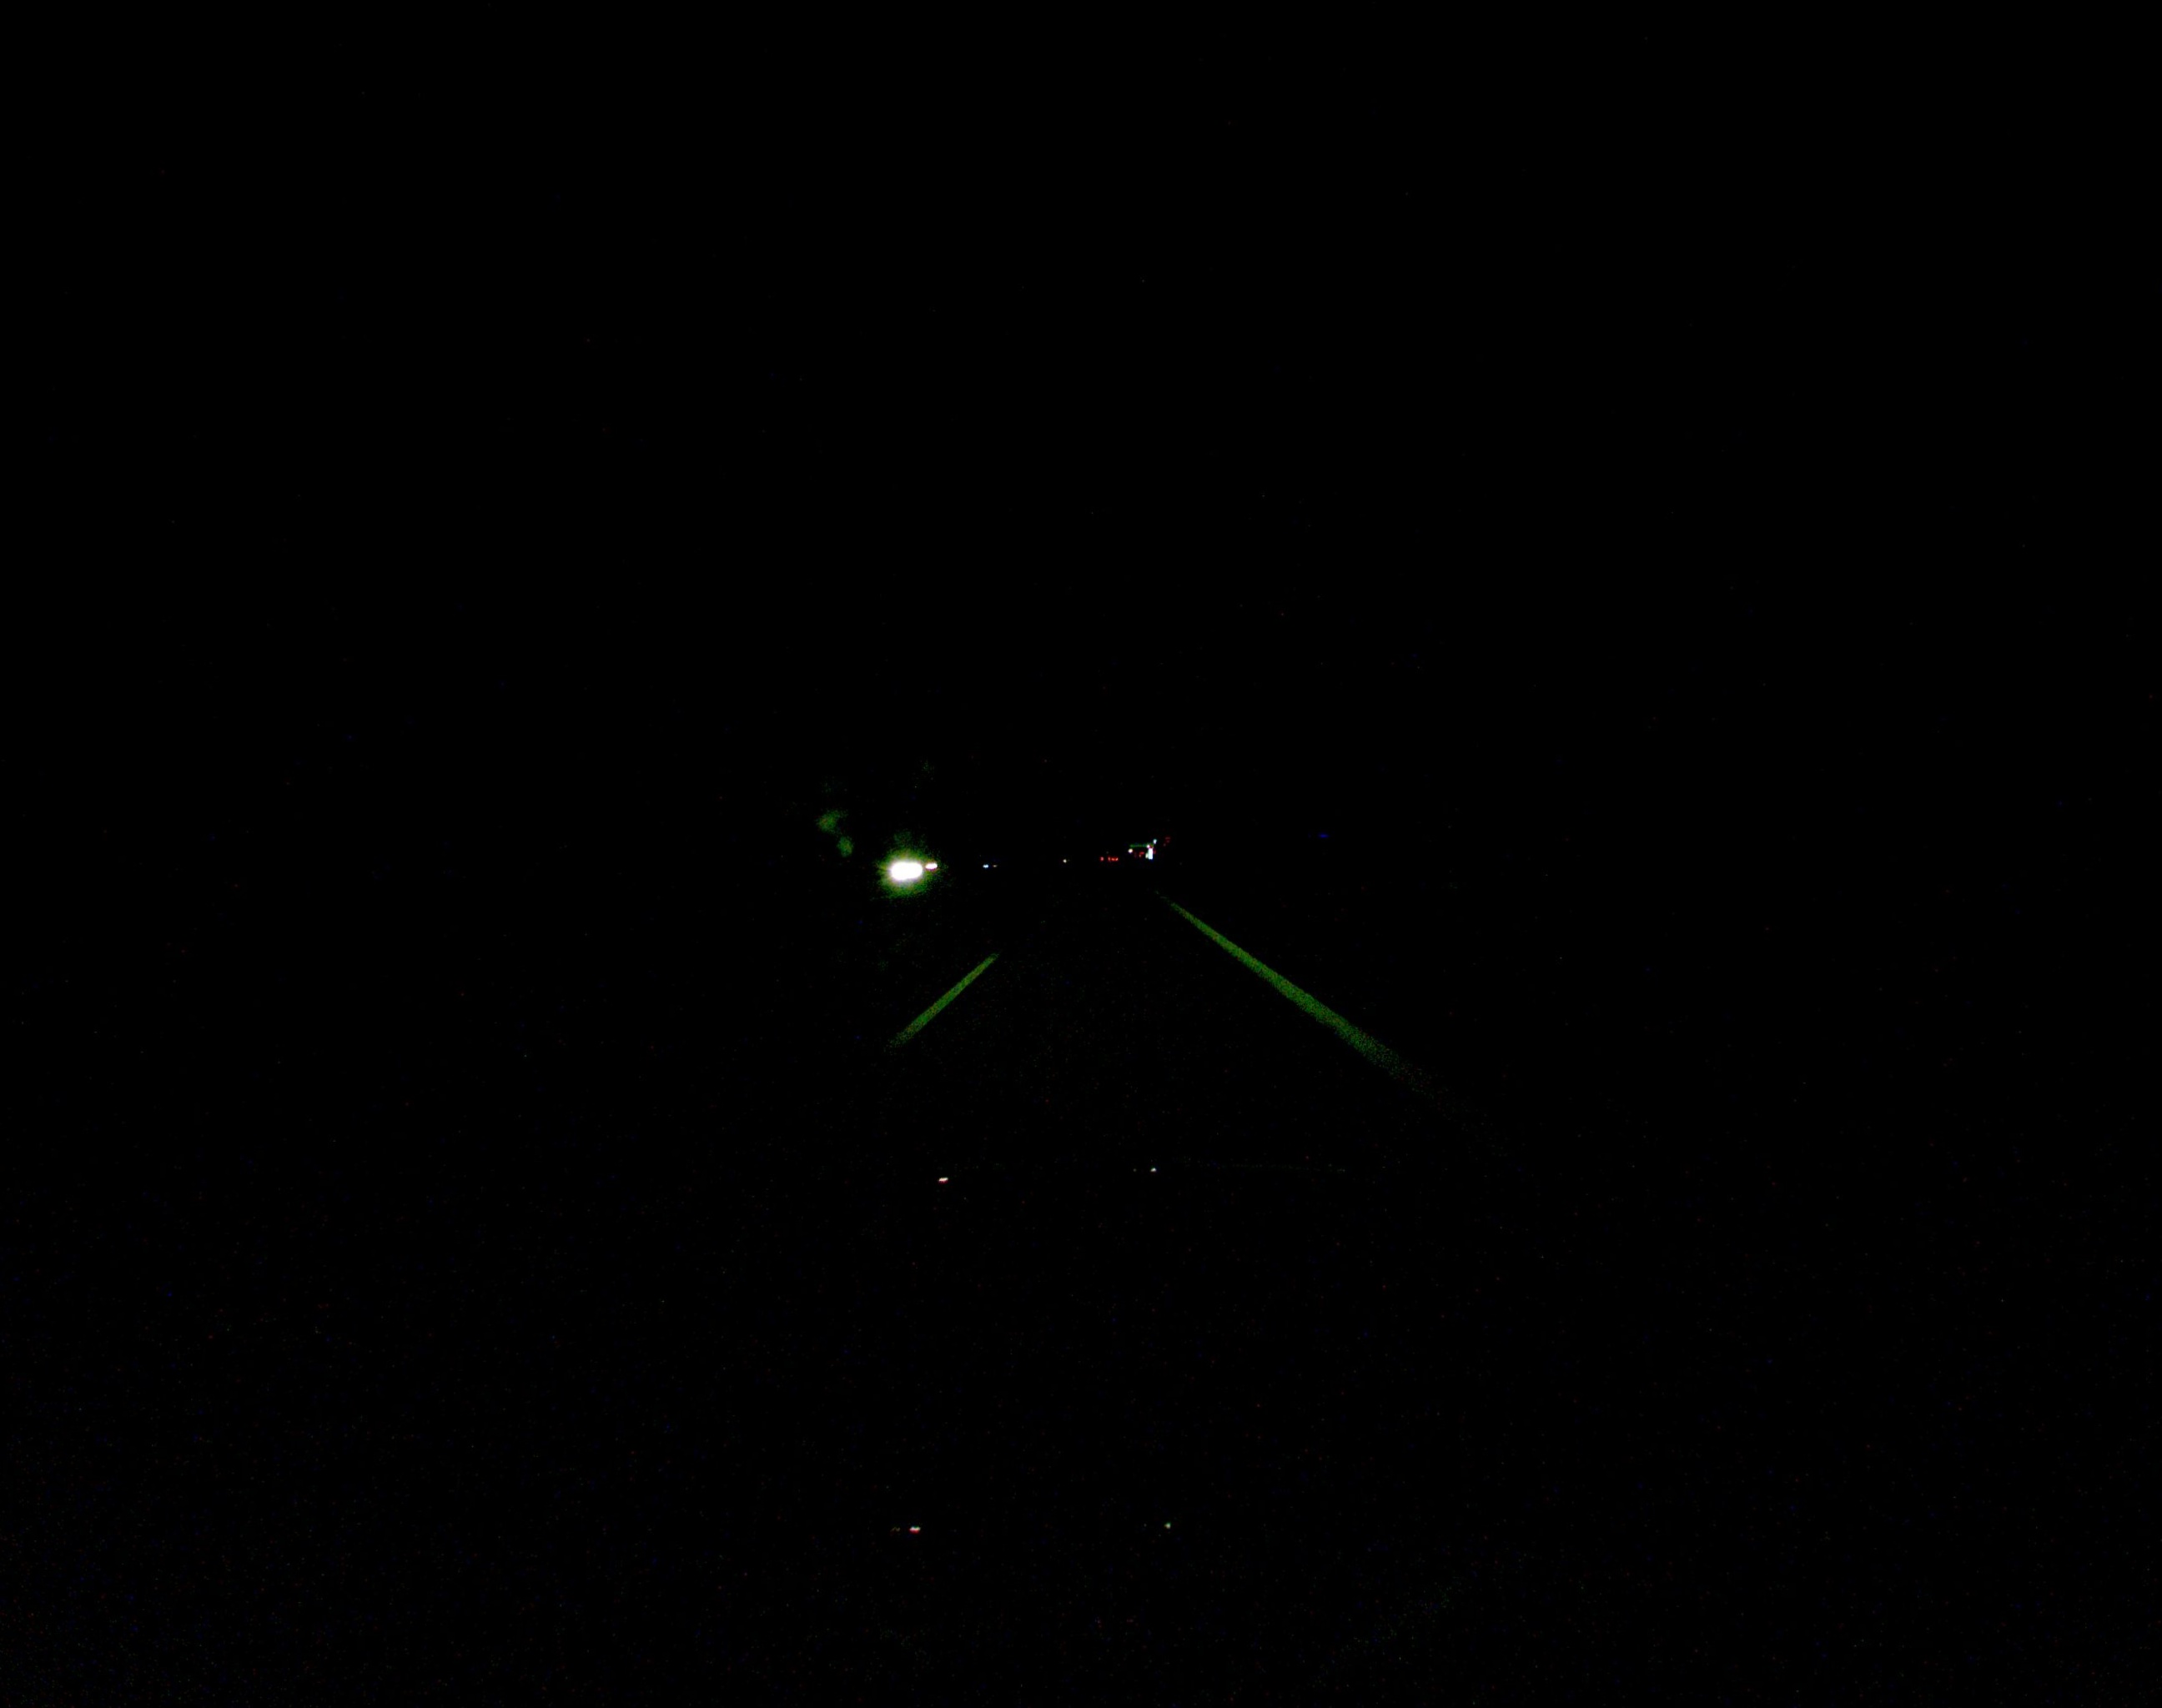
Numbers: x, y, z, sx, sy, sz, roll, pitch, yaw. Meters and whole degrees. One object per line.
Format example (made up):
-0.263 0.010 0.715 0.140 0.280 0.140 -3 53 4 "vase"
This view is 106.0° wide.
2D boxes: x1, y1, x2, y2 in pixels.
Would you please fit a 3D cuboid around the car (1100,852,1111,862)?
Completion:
5.998 0.750 195.832 2.500 2.314 4.975 -1 0 3 "car"

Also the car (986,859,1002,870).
-13.398 1.571 125.490 1.854 1.498 4.707 -1 0 2 "car"

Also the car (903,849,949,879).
-15.630 0.954 82.766 2.942 2.857 7.720 -1 0 2 "car"

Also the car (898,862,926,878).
-19.012 1.763 91.793 2.044 1.598 5.077 -1 0 0 "car"
